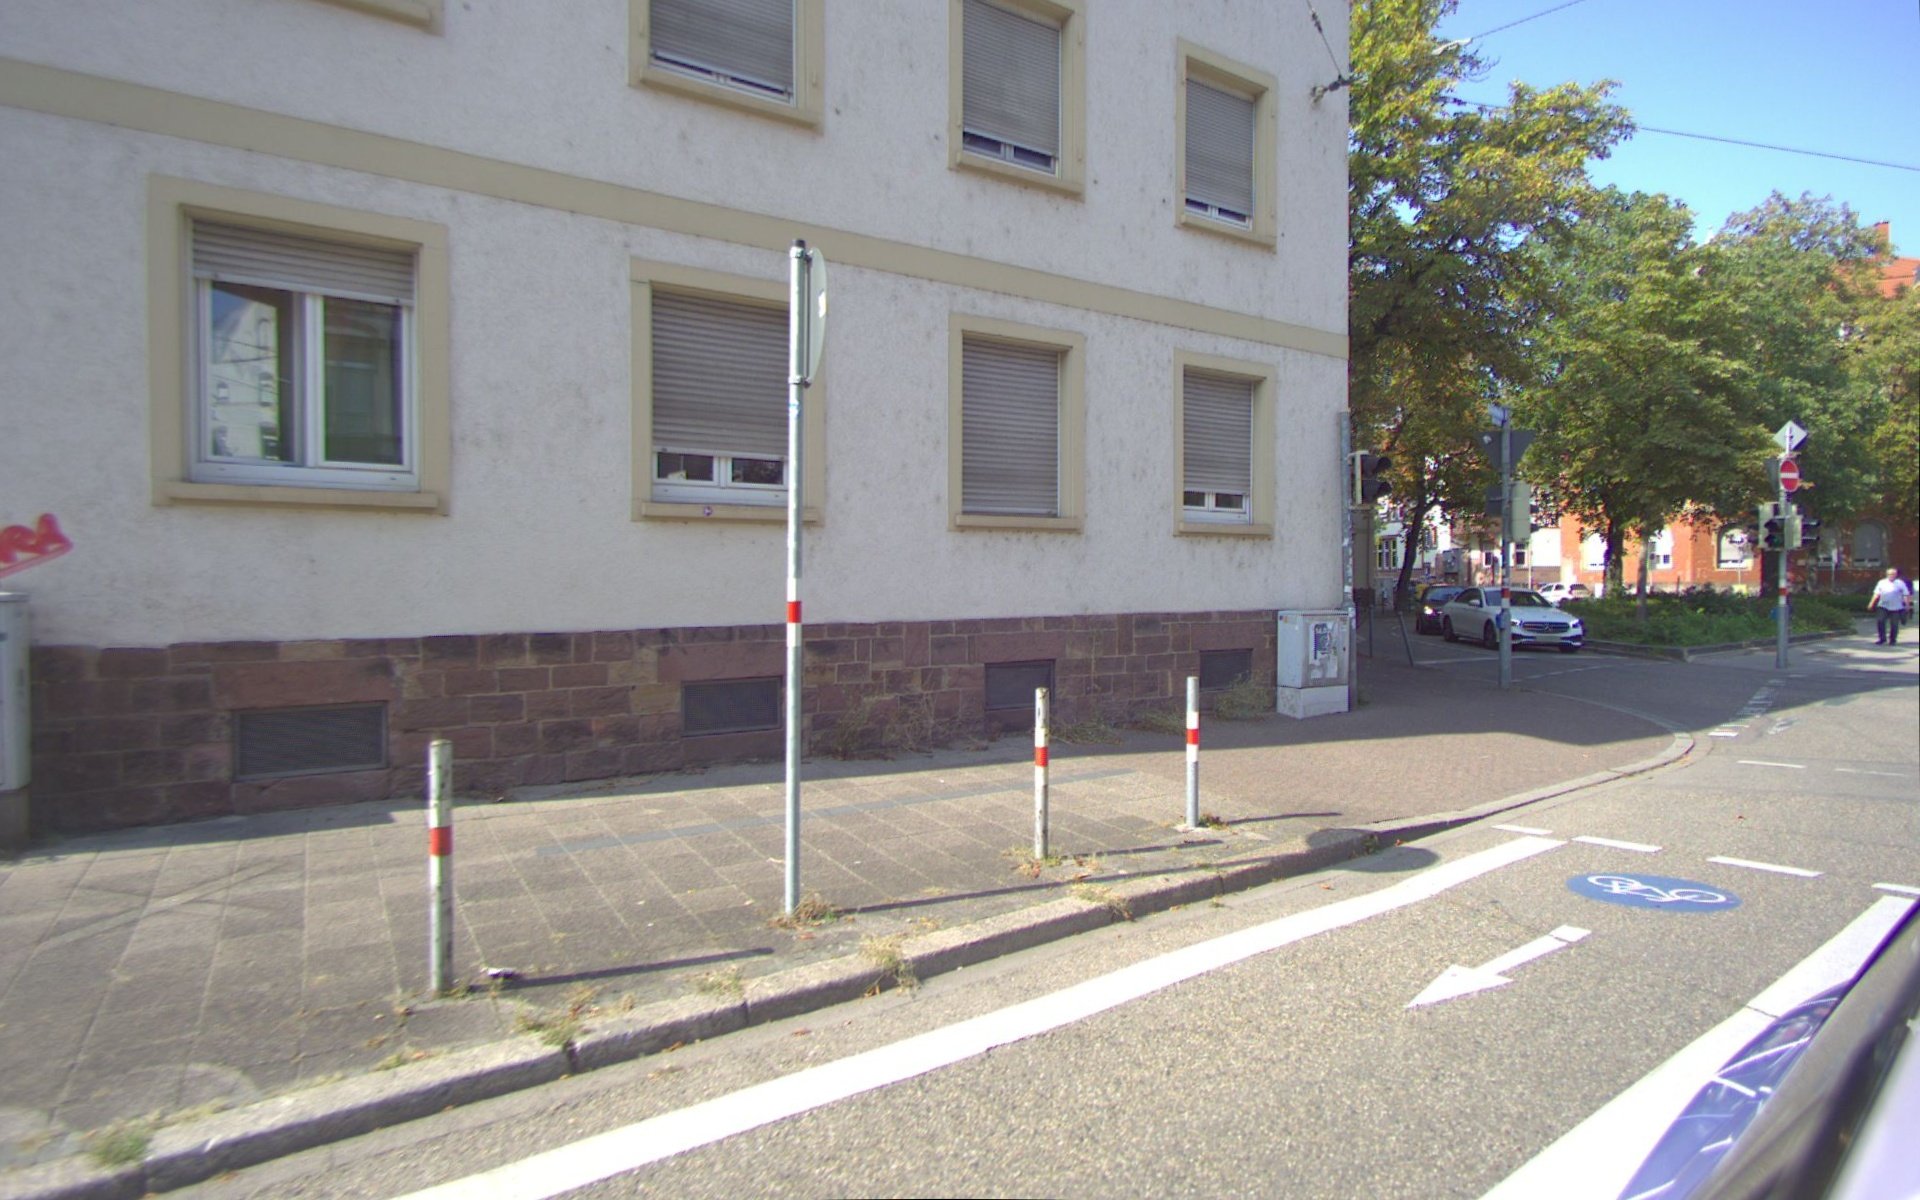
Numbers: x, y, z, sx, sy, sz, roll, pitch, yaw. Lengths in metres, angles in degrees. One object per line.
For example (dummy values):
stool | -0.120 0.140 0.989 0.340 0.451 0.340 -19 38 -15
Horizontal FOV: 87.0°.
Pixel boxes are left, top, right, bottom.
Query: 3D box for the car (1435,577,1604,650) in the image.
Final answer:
car | 13.262 0.239 24.397 1.845 1.487 4.944 2 2 8

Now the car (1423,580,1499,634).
car | 14.899 0.162 30.261 1.732 1.469 3.860 1 1 23

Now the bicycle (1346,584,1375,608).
bicycle | 18.390 -0.203 46.442 1.458 1.073 0.417 -1 1 -29

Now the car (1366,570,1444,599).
car | 26.669 -0.950 60.686 4.108 1.659 1.666 -1 1 -12

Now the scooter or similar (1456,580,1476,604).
scooter or similar | 24.532 -0.396 49.064 0.434 1.172 1.112 -1 1 2

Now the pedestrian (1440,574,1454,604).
pedestrian | 29.304 -0.641 60.894 0.646 1.786 0.603 0 0 19

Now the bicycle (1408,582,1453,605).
bicycle | 22.419 -0.309 48.215 0.598 1.071 1.866 -1 1 -41

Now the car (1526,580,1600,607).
car | 36.556 -0.435 61.507 1.588 1.586 4.007 -1 1 -11

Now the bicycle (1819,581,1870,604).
bicycle | 43.552 -0.381 49.839 1.809 1.072 0.606 -2 -2 10

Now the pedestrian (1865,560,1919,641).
pedestrian | 21.253 0.000 22.742 0.951 1.745 1.081 -1 4 -33
